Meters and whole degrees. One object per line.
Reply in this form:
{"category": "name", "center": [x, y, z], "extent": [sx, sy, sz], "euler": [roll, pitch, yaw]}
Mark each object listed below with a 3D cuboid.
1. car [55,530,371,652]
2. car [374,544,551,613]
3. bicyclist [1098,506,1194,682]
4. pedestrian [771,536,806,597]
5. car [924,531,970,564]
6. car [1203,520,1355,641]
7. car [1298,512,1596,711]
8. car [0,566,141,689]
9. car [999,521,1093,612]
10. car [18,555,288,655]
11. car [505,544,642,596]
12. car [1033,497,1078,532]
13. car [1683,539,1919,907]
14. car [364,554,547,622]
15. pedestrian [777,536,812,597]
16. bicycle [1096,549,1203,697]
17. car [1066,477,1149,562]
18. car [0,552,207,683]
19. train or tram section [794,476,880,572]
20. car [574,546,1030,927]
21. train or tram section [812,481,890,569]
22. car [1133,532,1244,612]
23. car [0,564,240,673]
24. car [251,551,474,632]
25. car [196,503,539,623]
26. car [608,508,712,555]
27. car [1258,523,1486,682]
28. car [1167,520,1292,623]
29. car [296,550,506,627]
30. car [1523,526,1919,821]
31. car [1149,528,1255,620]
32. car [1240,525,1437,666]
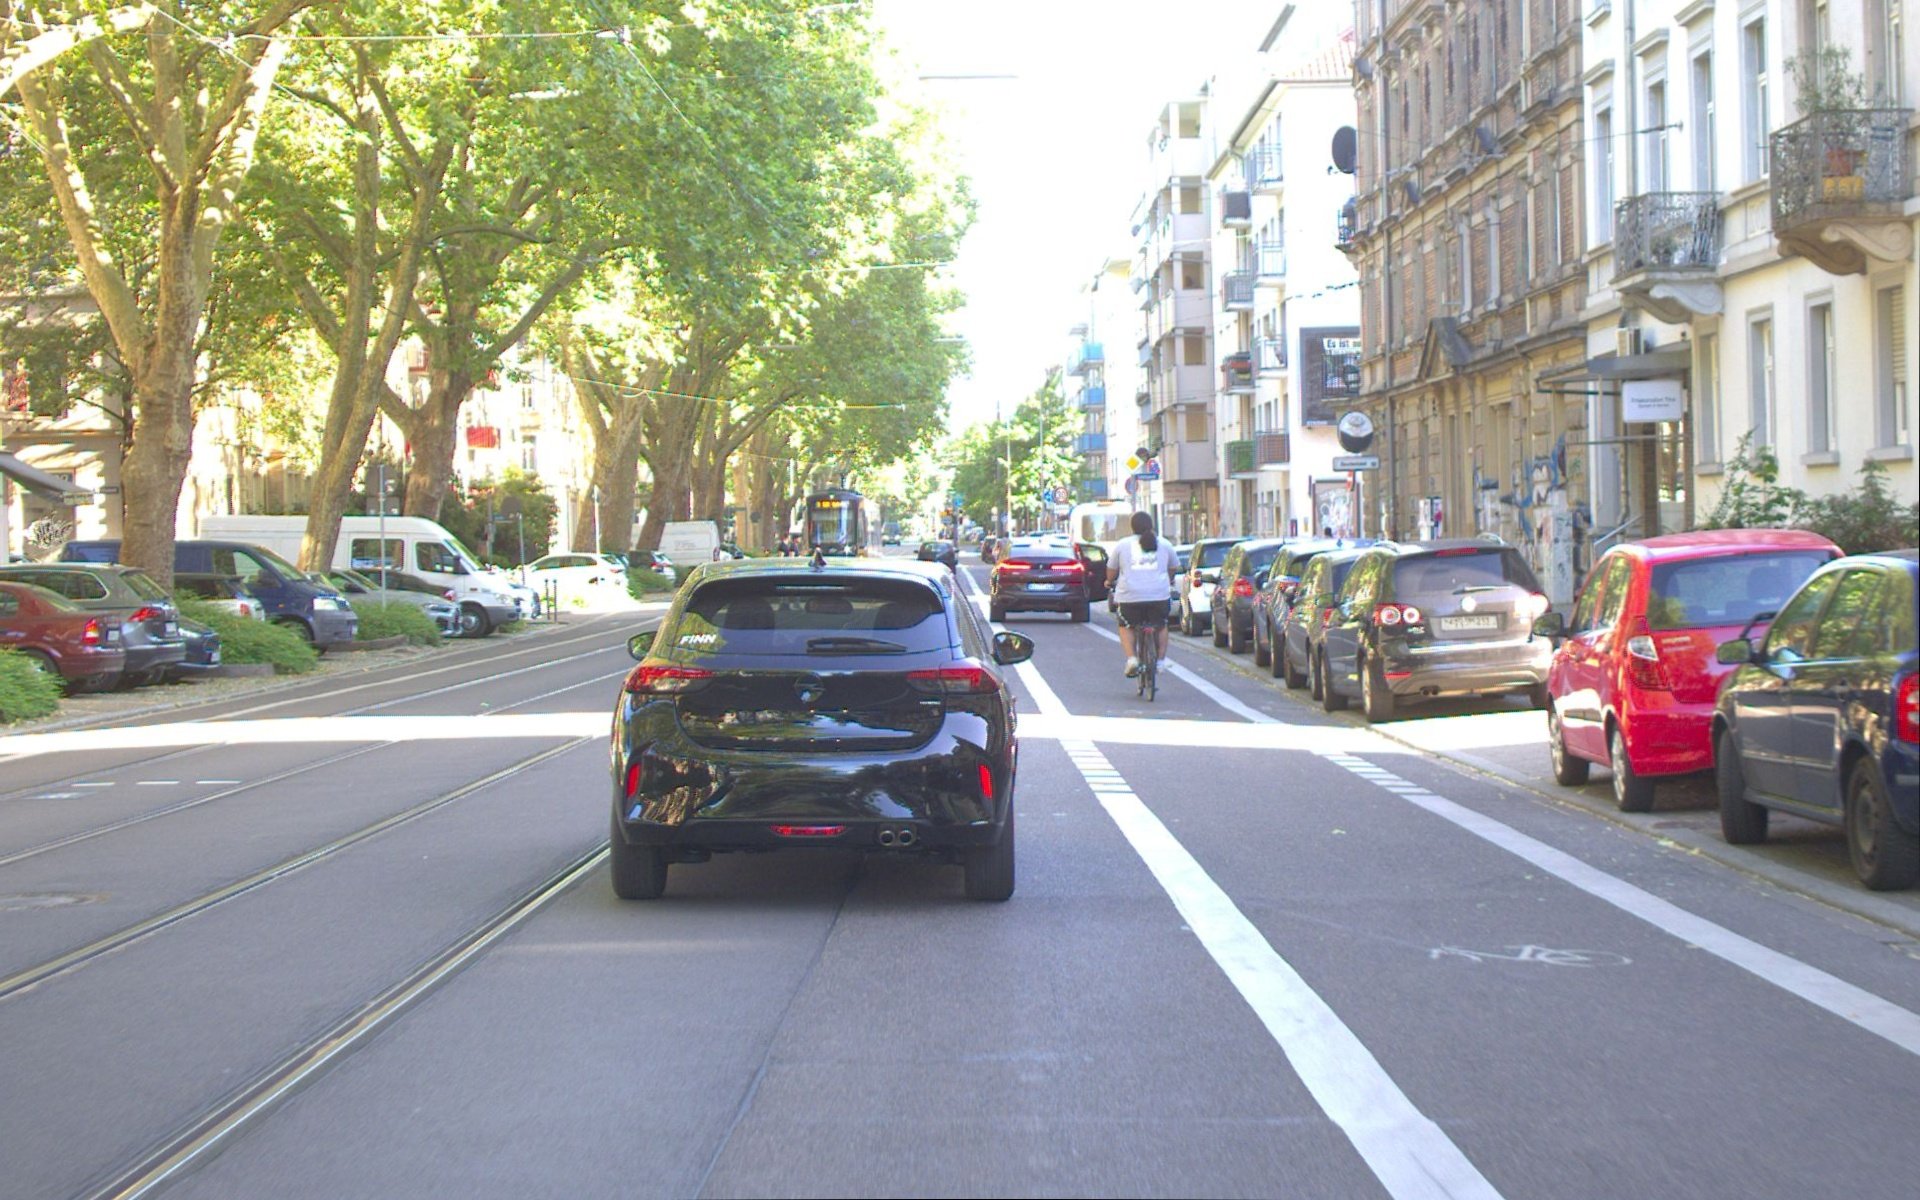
{"category": "car", "center": [-12.079, -0.161, 55.760], "extent": [4.675, 1.917, 1.980], "euler": [0, 1, 1]}
{"category": "car", "center": [-11.537, -0.505, 79.879], "extent": [3.919, 1.572, 1.677], "euler": [0, 1, -2]}
{"category": "bicyclist", "center": [1.861, -0.071, 34.559], "extent": [0.848, 1.734, 1.162], "euler": [-1, 1, -1]}
{"category": "pedestrian", "center": [-4.424, -0.864, 88.801], "extent": [0.679, 1.561, 0.768], "euler": [-1, 1, 17]}
{"category": "car", "center": [-0.527, -2.202, 143.547], "extent": [1.810, 1.333, 3.933], "euler": [-1, 1, 1]}
{"category": "car", "center": [4.353, -0.293, 47.345], "extent": [1.710, 1.478, 3.764], "euler": [-5, 1, 1]}
{"category": "car", "center": [4.428, 0.074, 31.822], "extent": [1.880, 1.580, 3.933], "euler": [-5, 1, -3]}
{"category": "car", "center": [-12.089, 0.314, 41.651], "extent": [3.920, 1.437, 1.749], "euler": [0, 1, 0]}
{"category": "car", "center": [1.731, -0.699, 69.546], "extent": [1.810, 1.736, 3.933], "euler": [-1, 1, 1]}
{"category": "car", "center": [-12.361, 0.068, 52.783], "extent": [3.734, 1.493, 1.746], "euler": [0, 1, 0]}
{"category": "car", "center": [-11.422, -0.896, 101.799], "extent": [3.919, 1.493, 1.677], "euler": [0, 1, -2]}
{"category": "car", "center": [4.111, -3.688, 148.982], "extent": [1.810, 1.333, 3.933], "euler": [-5, 1, 1]}
{"category": "car", "center": [4.612, 0.460, 15.950], "extent": [1.651, 1.451, 3.868], "euler": [-2, 1, 0]}
{"category": "car", "center": [-11.332, -0.286, 77.433], "extent": [3.919, 1.493, 1.677], "euler": [0, 1, -2]}
{"category": "pedestrian", "center": [-4.303, -0.881, 89.615], "extent": [0.679, 1.561, 0.768], "euler": [-1, 1, 17]}
{"category": "bicycle", "center": [1.885, 0.205, 34.509], "extent": [0.860, 1.402, 2.524], "euler": [-1, 1, -1]}
{"category": "car", "center": [4.201, -2.304, 98.507], "extent": [2.075, 2.211, 4.933], "euler": [-5, 1, 1]}
{"category": "car", "center": [-11.814, 0.205, 43.877], "extent": [3.994, 1.621, 1.879], "euler": [0, 1, 0]}
{"category": "train or tram section", "center": [-4.952, -3.094, 140.698], "extent": [2.735, 3.669, 12.716], "euler": [-2, 1, 1]}
{"category": "car", "center": [-0.639, 0.517, 15.467], "extent": [1.794, 1.436, 3.531], "euler": [-1, 2, 0]}
{"category": "train or tram section", "center": [-4.784, -3.339, 153.497], "extent": [2.735, 3.669, 12.716], "euler": [-2, 1, 1]}
{"category": "car", "center": [4.305, -0.548, 65.235], "extent": [1.810, 1.333, 3.933], "euler": [-5, 1, 1]}
{"category": "car", "center": [-11.827, 0.233, 46.282], "extent": [3.919, 1.417, 1.819], "euler": [0, 1, -1]}
{"category": "car", "center": [-11.289, -0.174, 65.112], "extent": [3.920, 1.493, 1.677], "euler": [0, 1, 1]}
{"category": "car", "center": [-12.139, -0.774, 70.797], "extent": [6.628, 2.401, 2.458], "euler": [0, 1, 0]}
{"category": "car", "center": [-11.523, -2.634, 132.201], "extent": [3.919, 1.784, 1.677], "euler": [0, 1, -2]}
{"category": "car", "center": [4.297, -0.004, 36.366], "extent": [1.798, 1.451, 3.768], "euler": [-5, 1, -1]}
{"category": "car", "center": [4.346, -0.475, 55.878], "extent": [1.567, 1.512, 3.041], "euler": [-5, 1, -2]}
{"category": "car", "center": [-11.096, -0.233, 68.416], "extent": [3.920, 1.493, 1.677], "euler": [0, 1, 0]}
{"category": "car", "center": [4.458, 0.367, 20.458], "extent": [1.634, 1.541, 3.576], "euler": [-2, 1, 1]}
{"category": "car", "center": [4.257, -0.486, 60.932], "extent": [1.705, 1.451, 3.697], "euler": [-5, 1, 3]}
{"category": "car", "center": [4.472, -0.089, 41.098], "extent": [1.880, 1.451, 4.026], "euler": [-5, 1, 1]}
